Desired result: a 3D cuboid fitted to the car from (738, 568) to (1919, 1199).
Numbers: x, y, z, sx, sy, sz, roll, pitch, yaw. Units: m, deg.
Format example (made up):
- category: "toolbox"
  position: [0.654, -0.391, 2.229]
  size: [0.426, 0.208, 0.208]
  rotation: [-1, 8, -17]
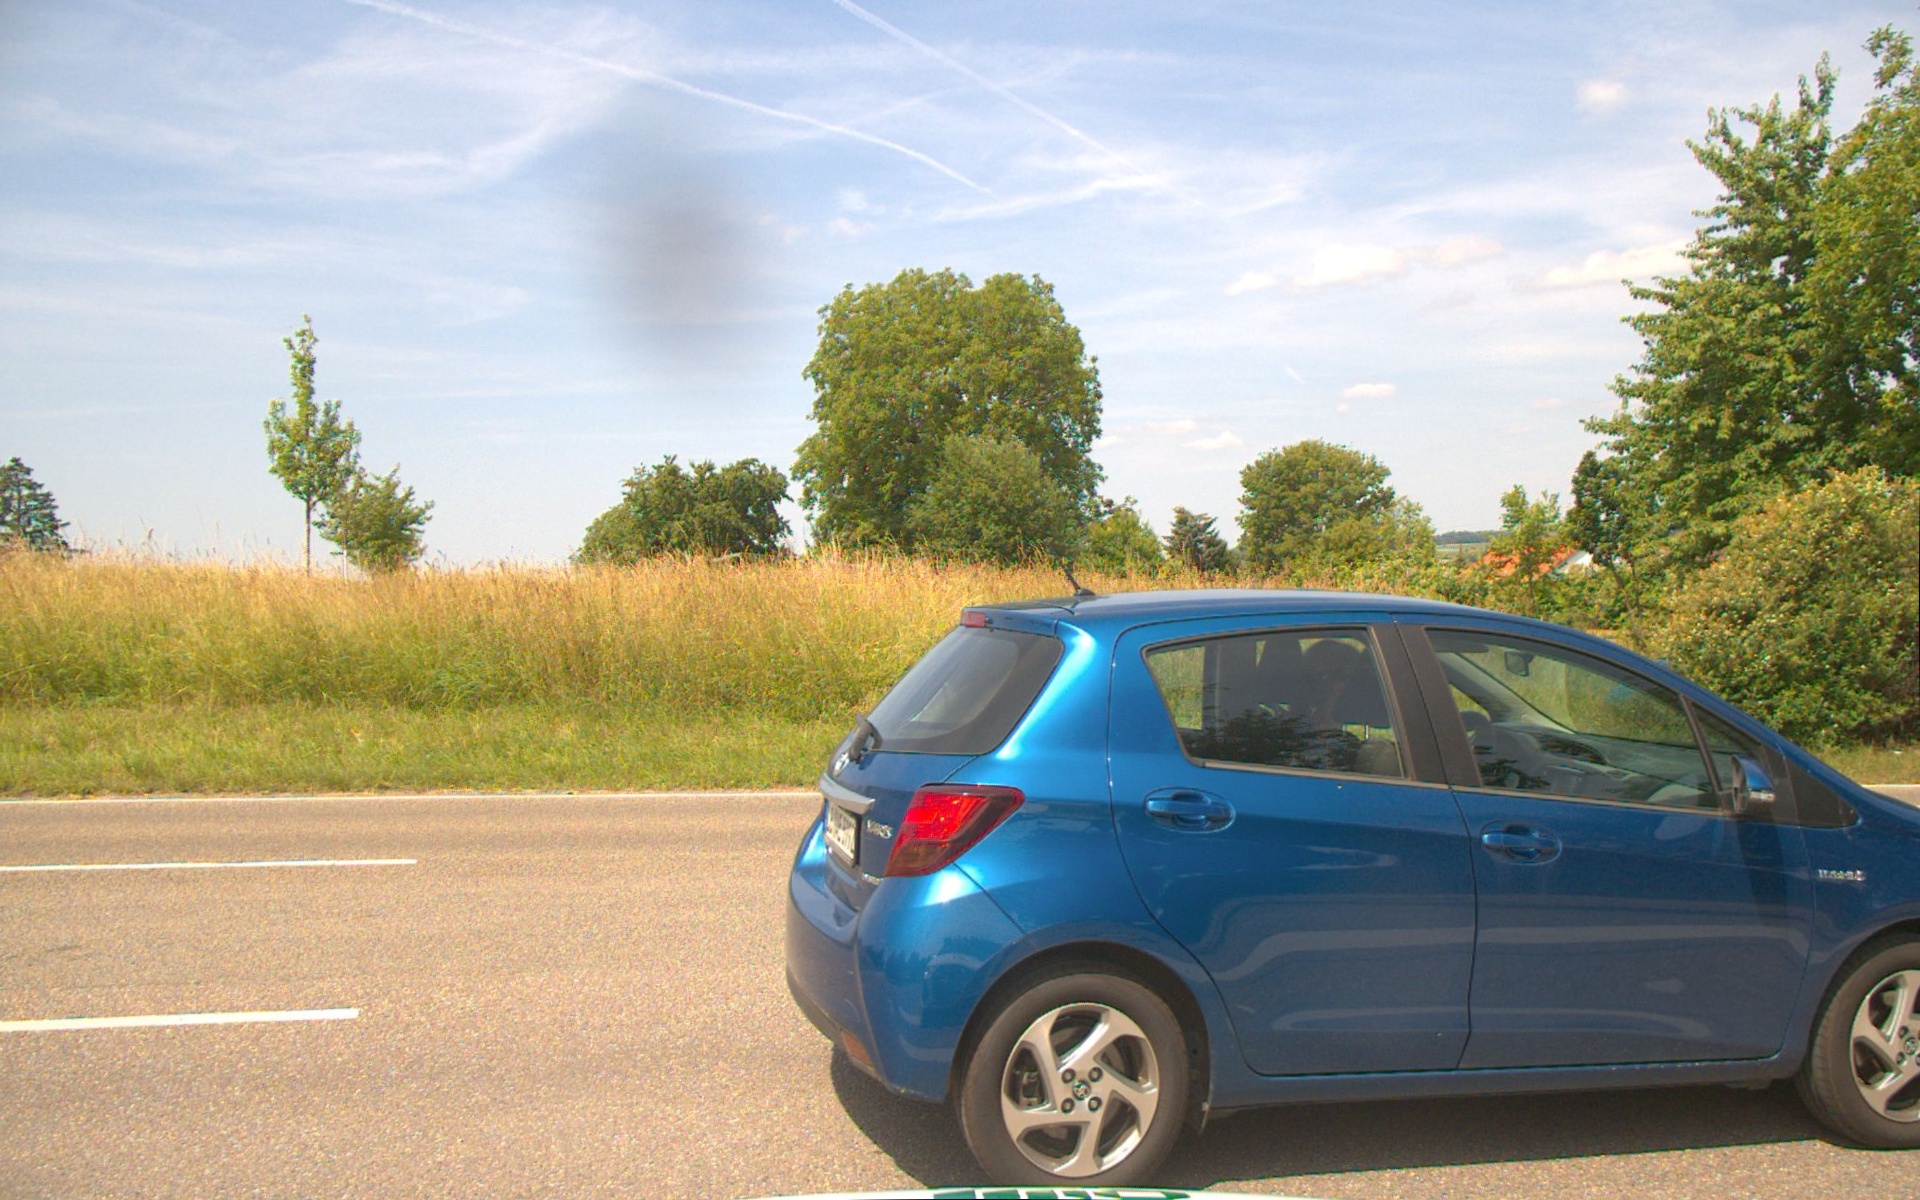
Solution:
- category: "car"
  position: [1.313, 0.700, 4.999]
  size: [3.771, 1.518, 1.607]
  rotation: [1, 1, -15]
